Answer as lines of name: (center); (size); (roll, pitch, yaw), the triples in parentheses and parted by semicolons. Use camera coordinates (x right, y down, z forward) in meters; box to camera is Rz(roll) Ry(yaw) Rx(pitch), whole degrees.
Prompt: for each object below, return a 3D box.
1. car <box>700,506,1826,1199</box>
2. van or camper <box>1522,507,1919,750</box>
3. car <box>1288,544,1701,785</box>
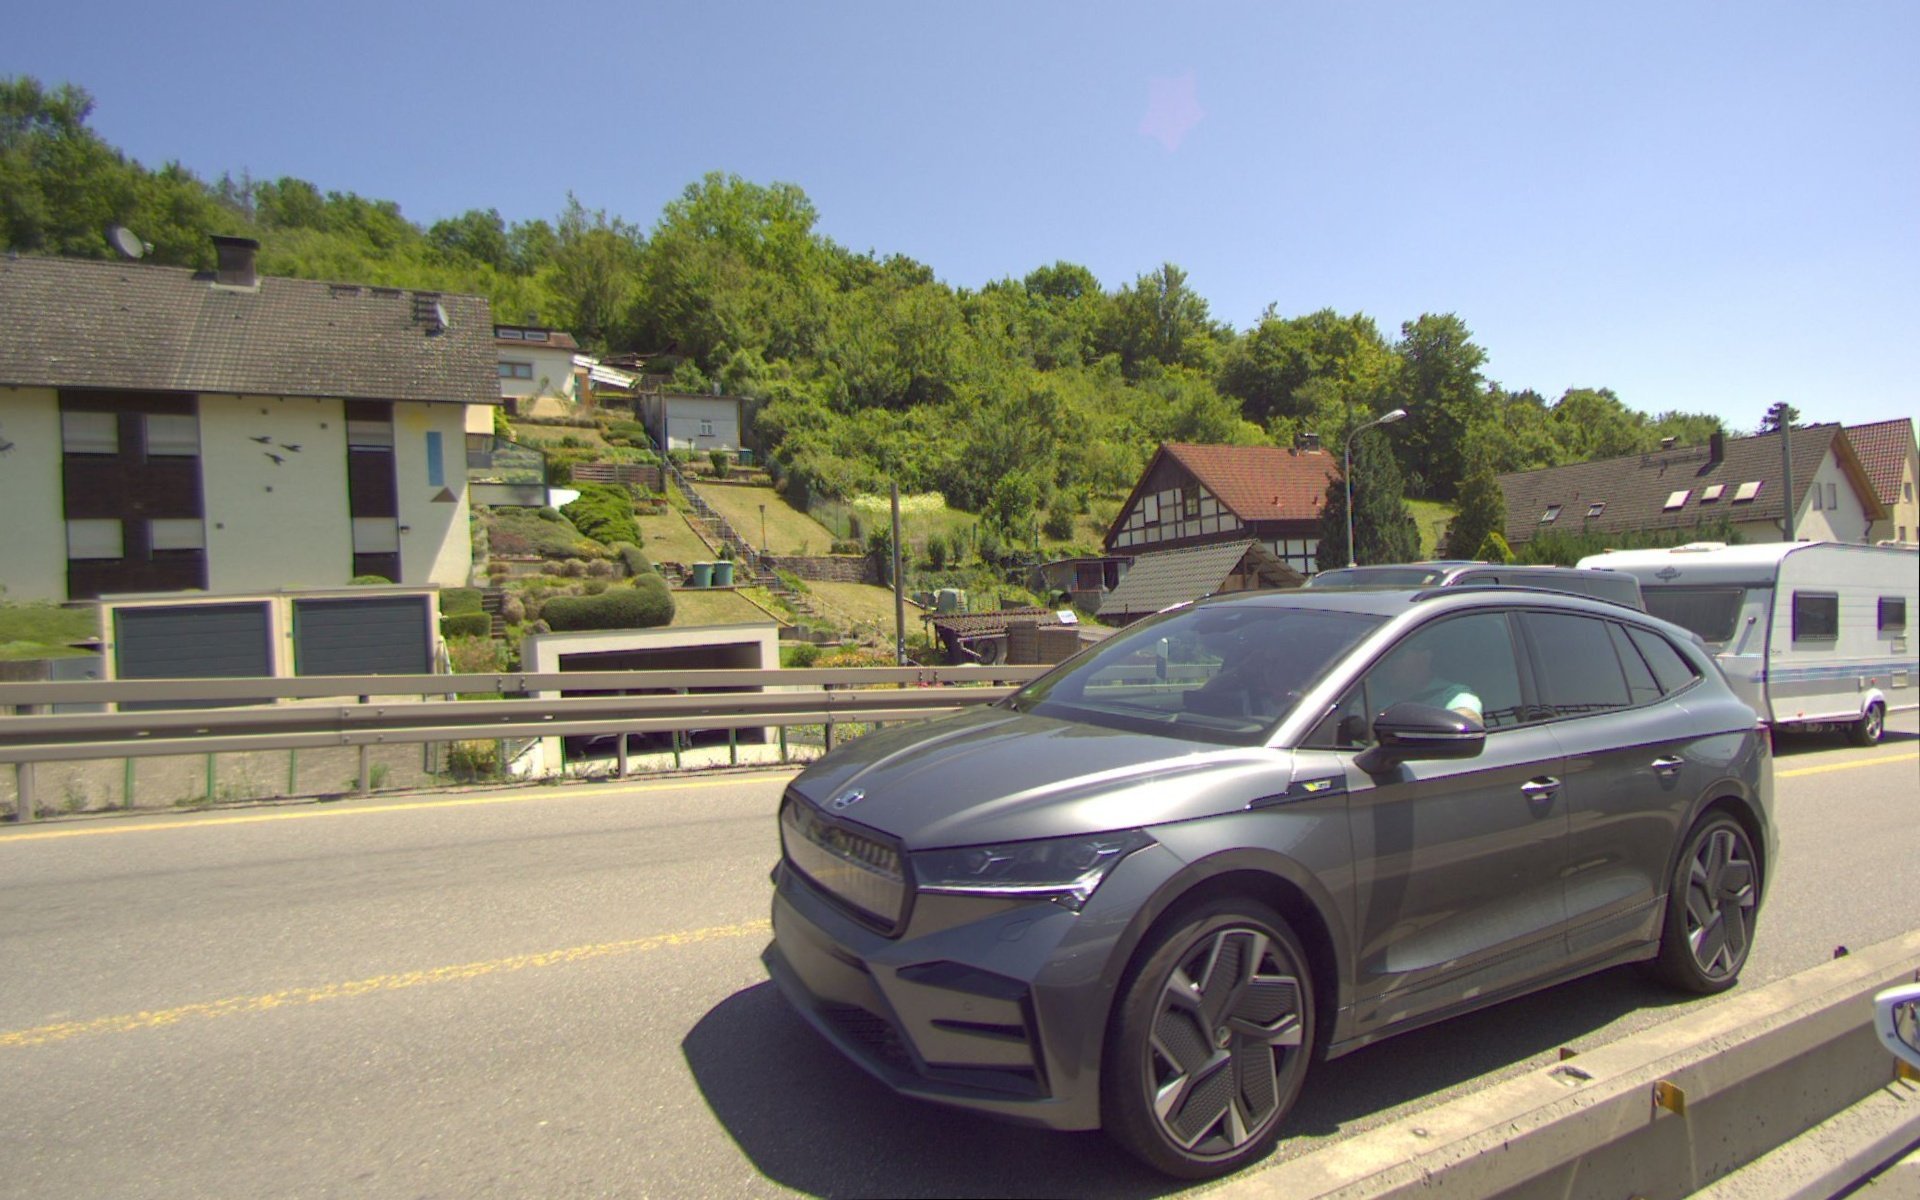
car: (1.418, 0.686, 4.077); (4.428, 1.607, 1.863); (3, -1, -31)
van or camper: (10.357, 0.420, 13.114); (6.252, 2.549, 2.343); (3, -1, -30)
car: (5.552, 0.619, 10.373); (3.954, 2.040, 1.984); (3, -1, -31)
